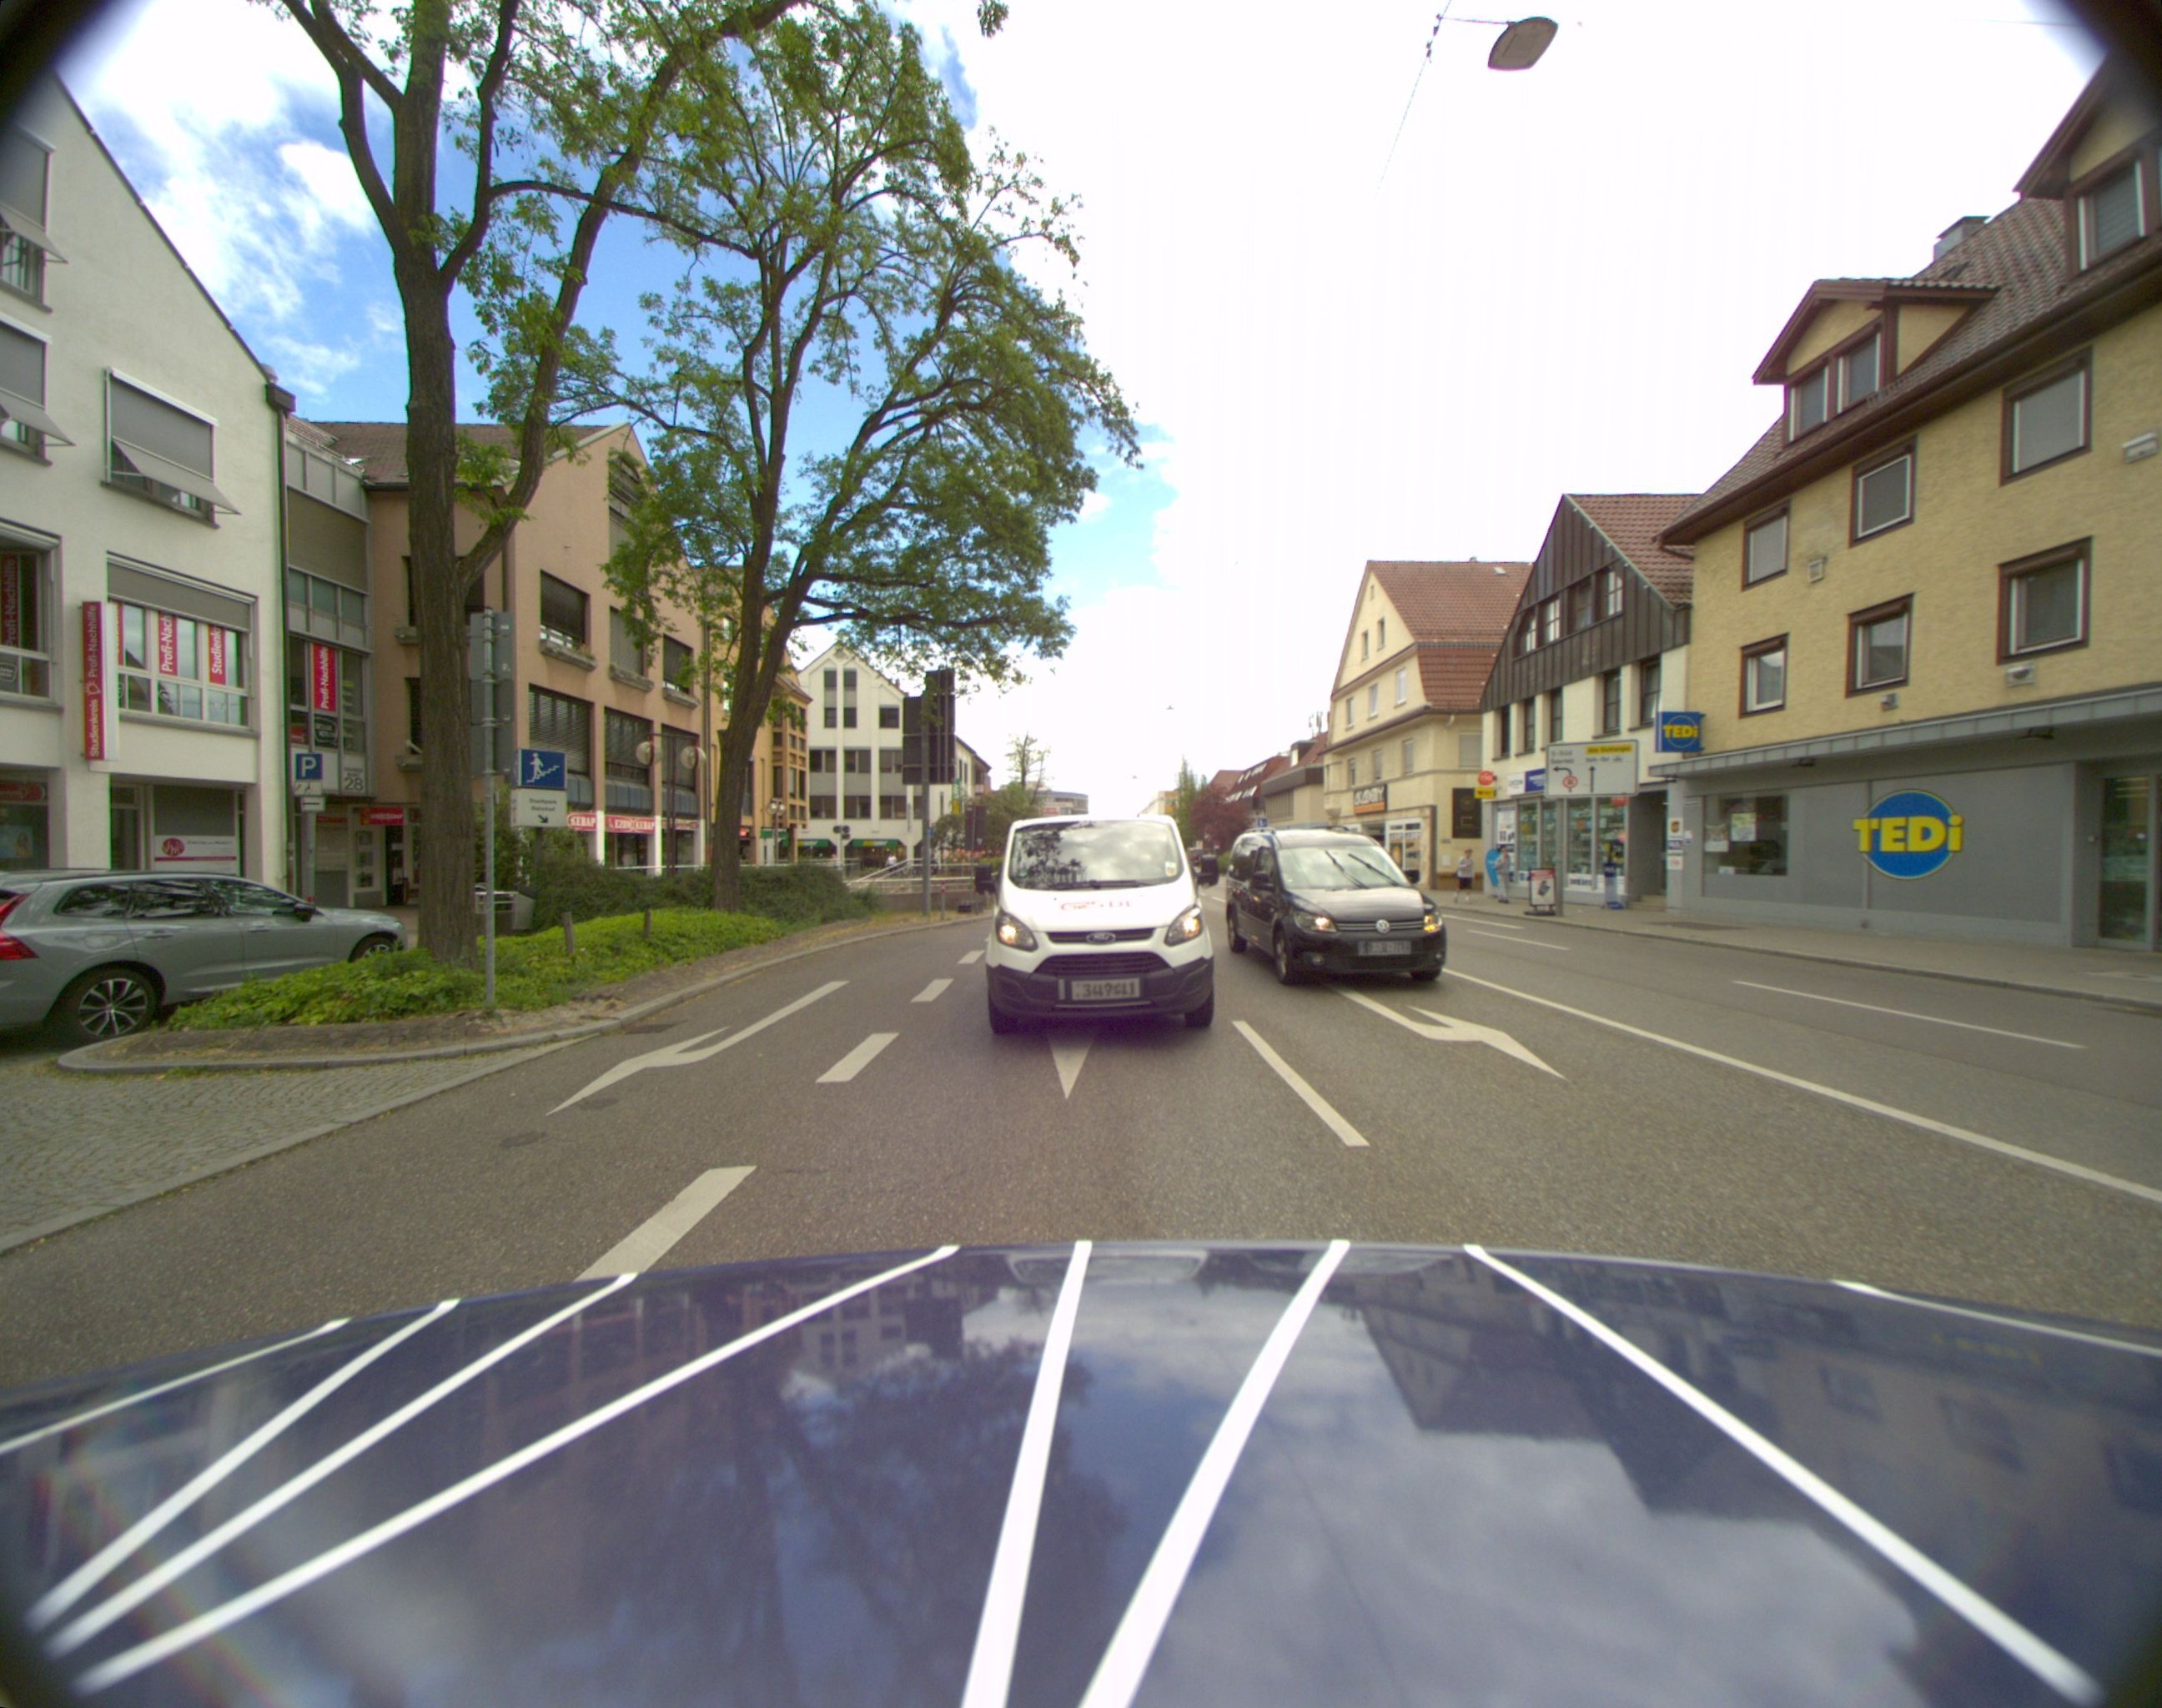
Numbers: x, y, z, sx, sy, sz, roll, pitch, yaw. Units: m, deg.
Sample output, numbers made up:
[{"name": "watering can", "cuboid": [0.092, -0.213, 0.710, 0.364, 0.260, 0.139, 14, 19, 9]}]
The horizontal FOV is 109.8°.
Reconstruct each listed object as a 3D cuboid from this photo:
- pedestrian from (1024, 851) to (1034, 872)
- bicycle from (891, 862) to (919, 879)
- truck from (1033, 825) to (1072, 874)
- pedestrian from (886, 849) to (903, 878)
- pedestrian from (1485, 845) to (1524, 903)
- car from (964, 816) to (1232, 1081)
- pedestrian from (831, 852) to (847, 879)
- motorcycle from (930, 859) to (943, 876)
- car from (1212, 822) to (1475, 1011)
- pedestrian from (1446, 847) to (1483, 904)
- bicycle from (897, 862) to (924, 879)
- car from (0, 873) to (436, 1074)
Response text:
[{"name": "pedestrian", "cuboid": [-3.920, 0.533, 57.067, 0.653, 1.568, 0.684, -1, 1, 1]}, {"name": "bicycle", "cuboid": [-10.437, 0.983, 45.106, 1.594, 0.996, 0.414, -1, 1, -13]}, {"name": "truck", "cuboid": [-2.153, -0.395, 60.071, 2.446, 3.464, 8.347, -2, 1, 1]}, {"name": "pedestrian", "cuboid": [-12.322, 0.616, 50.237, 0.871, 1.812, 0.785, -2, 1, -3]}, {"name": "pedestrian", "cuboid": [12.552, 0.590, 22.552, 0.689, 1.660, 0.709, -3, 1, 1]}, {"name": "car", "cuboid": [0.145, 0.688, 8.205, 1.964, 1.948, 5.164, -1, 0, 0]}, {"name": "pedestrian", "cuboid": [-16.128, 0.767, 50.755, 0.887, 1.747, 0.943, -1, 1, -11]}, {"name": "motorcycle", "cuboid": [-9.707, 0.886, 51.134, 0.464, 1.062, 1.995, 0, 0, 1]}, {"name": "car", "cuboid": [3.040, 0.623, 9.960, 1.749, 1.844, 4.633, -2, 0, -1]}, {"name": "pedestrian", "cuboid": [11.548, 0.644, 22.895, 0.689, 1.680, 0.742, -2, 1, 1]}, {"name": "bicycle", "cuboid": [-10.281, 0.999, 45.831, 1.594, 0.963, 0.461, -1, 1, -14]}, {"name": "car", "cuboid": [-10.303, 1.084, 8.633, 1.999, 1.586, 4.762, 0, 0, -2]}]
